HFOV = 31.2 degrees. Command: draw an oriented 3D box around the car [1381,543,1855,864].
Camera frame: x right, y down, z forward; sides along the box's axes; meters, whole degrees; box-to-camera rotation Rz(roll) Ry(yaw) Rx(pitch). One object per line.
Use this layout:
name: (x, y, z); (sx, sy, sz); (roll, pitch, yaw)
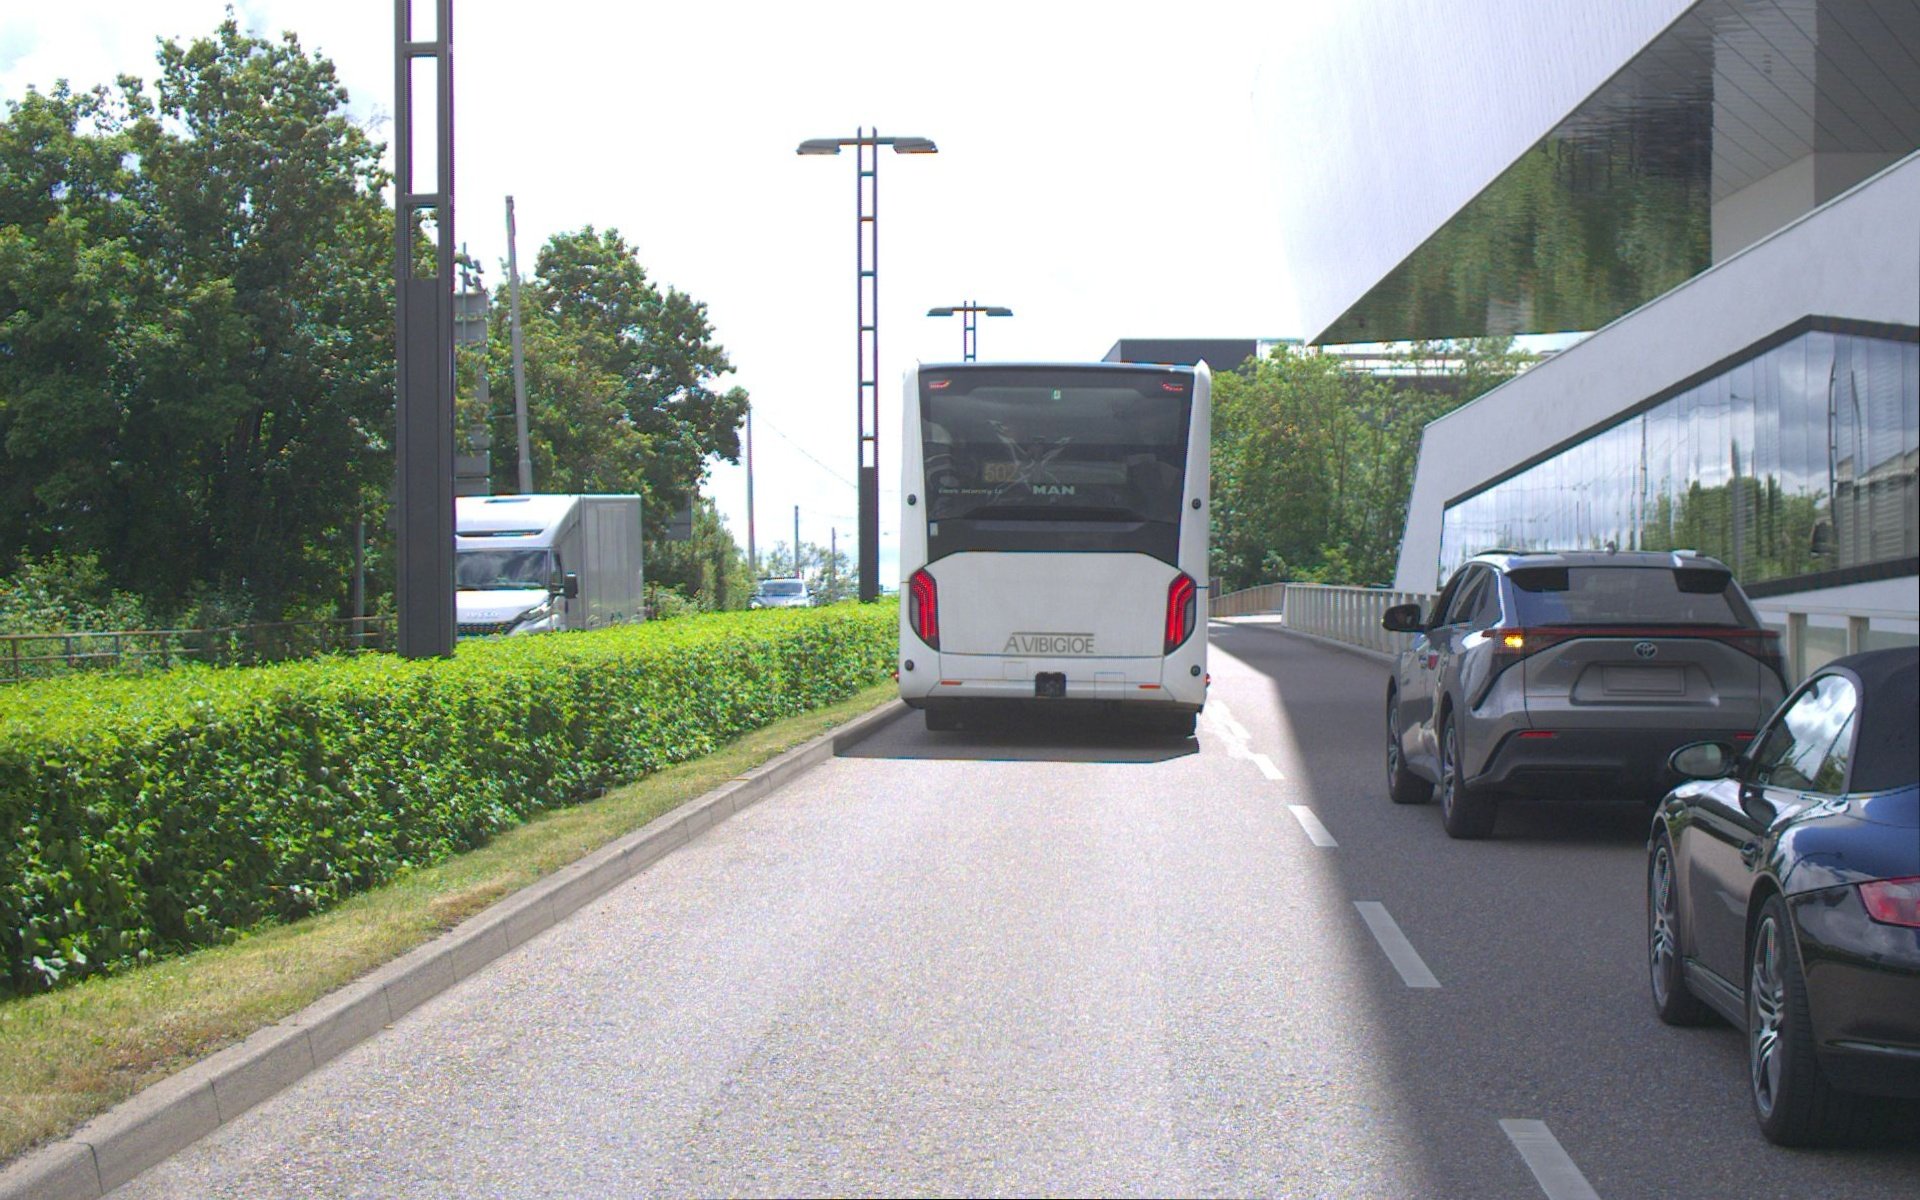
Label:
car: (3.670, 0.507, 19.909); (1.993, 1.631, 4.000); (1, 1, 1)

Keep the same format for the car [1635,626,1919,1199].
car: (3.036, 0.777, 9.785); (1.834, 1.321, 3.999); (0, 1, 6)

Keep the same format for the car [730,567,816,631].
car: (-5.588, -0.015, 103.222); (1.994, 1.707, 3.999); (1, -2, 5)

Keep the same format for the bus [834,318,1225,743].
bus: (0.854, -0.582, 33.677); (3.072, 3.350, 12.222); (1, 0, 3)

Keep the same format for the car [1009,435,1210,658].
car: (2.661, -0.828, 63.009); (3.335, 3.493, 9.340); (1, -2, 2)

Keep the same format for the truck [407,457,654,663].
truck: (-7.053, -0.544, 57.717); (2.196, 2.951, 8.949); (1, -2, 5)
